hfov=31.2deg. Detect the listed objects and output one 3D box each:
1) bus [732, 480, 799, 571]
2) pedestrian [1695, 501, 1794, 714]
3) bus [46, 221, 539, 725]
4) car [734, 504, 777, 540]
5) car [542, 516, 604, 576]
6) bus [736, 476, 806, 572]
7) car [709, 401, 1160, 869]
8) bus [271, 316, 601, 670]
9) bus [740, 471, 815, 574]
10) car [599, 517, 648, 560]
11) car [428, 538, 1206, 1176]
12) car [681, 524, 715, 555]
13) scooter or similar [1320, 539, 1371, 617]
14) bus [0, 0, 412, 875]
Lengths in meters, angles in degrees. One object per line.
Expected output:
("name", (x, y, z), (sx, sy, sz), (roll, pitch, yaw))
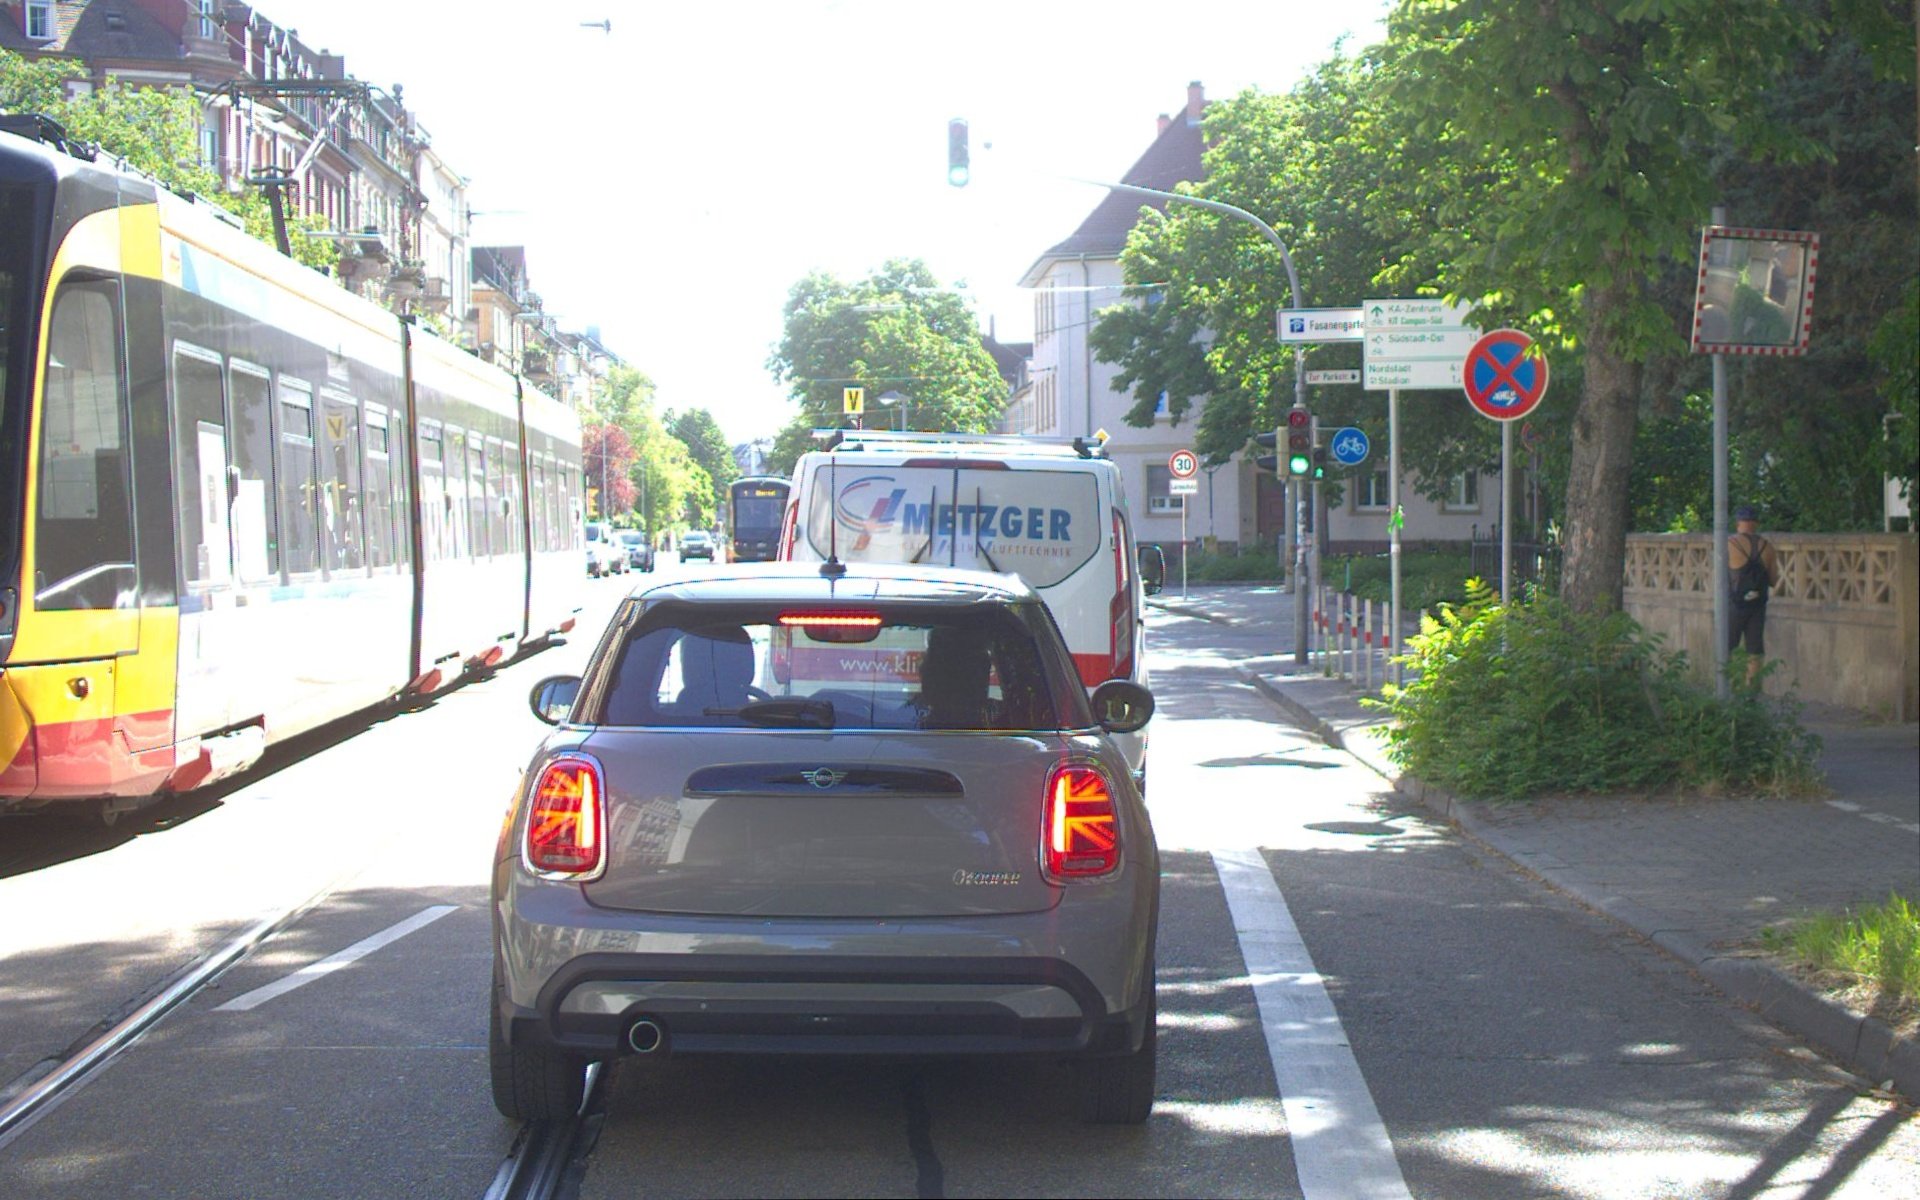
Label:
("bus", (-7.779, -2.941, 136.805), (2.385, 3.484, 7.385), (1, 1, -5))
("pedestrian", (6.266, 0.059, 27.472), (0.592, 1.665, 0.647), (-2, 0, -1))
("bus", (-5.722, -1.010, 31.548), (2.859, 3.764, 11.185), (1, 1, -3))
("car", (-9.241, -3.490, 154.964), (1.863, 1.558, 4.001), (1, 1, -4))
("car", (-13.468, -1.868, 119.500), (1.993, 2.007, 5.030), (1, 1, -8))
("bus", (-7.161, -2.807, 129.462), (2.385, 3.484, 7.385), (1, 1, -5))
("car", (-0.150, 0.143, 18.868), (2.118, 2.200, 4.945), (1, 1, -1))
("bus", (-6.282, -1.214, 43.138), (2.849, 3.764, 12.199), (1, 1, -3))
("bus", (-6.531, -2.709, 122.066), (2.385, 3.484, 7.385), (1, 1, -5))
("car", (-13.162, -2.400, 134.656), (1.775, 1.612, 4.001), (1, 1, -4))
("car", (-0.359, 0.587, 10.109), (1.815, 1.483, 4.000), (1, 1, -1))
("car", (-14.094, -3.246, 185.033), (1.775, 1.612, 4.001), (1, 1, -4))
("scooter or similar", (6.592, -0.378, 58.823), (0.676, 1.305, 1.329), (1, 0, -1))
("bus", (-5.292, -0.807, 20.124), (2.859, 3.764, 11.499), (1, 1, -3))
